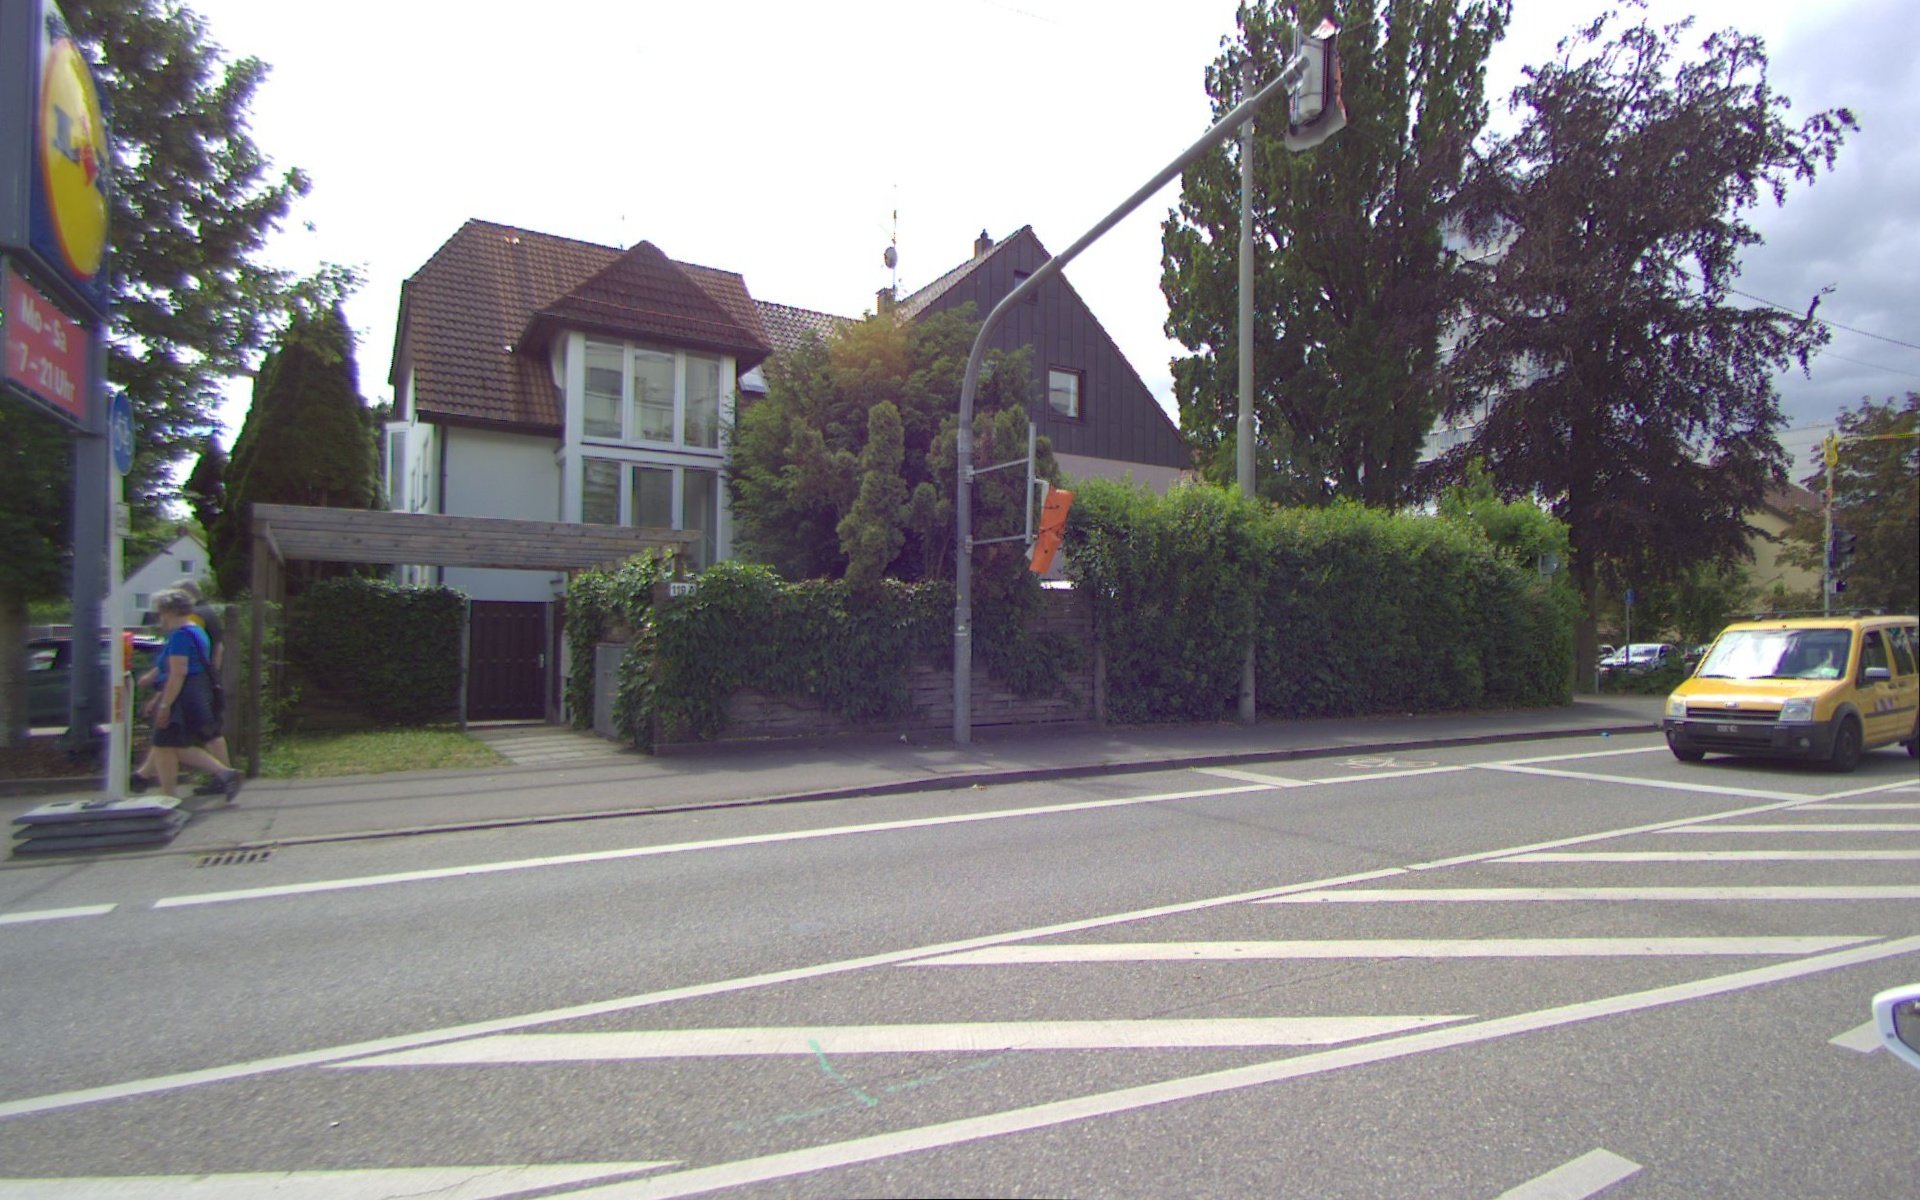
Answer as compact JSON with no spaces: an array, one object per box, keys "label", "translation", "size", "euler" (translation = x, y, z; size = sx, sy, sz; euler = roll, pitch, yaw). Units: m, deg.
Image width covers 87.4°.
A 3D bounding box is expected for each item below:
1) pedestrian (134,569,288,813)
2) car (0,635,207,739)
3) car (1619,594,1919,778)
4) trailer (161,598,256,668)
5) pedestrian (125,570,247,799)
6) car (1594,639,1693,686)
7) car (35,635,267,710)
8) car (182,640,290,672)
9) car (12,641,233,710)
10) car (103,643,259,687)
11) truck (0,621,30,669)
[{"label":"pedestrian","translation":[-6.134,0.721,8.282],"size":[0.882,1.879,0.678],"euler":[2,-2,-30]},{"label":"car","translation":[-14.044,1.277,15.213],"size":[3.953,1.472,1.984],"euler":[2,-3,-30]},{"label":"car","translation":[10.441,0.984,12.542],"size":[4.631,1.929,1.833],"euler":[1,-3,-30]},{"label":"trailer","translation":[-40.355,1.851,54.143],"size":[3.318,3.532,6.129],"euler":[1,-3,-30]},{"label":"pedestrian","translation":[-6.707,0.716,8.747],"size":[0.698,1.879,0.678],"euler":[2,-2,-30]},{"label":"car","translation":[23.892,2.147,35.079],"size":[3.398,1.535,1.652],"euler":[1,-2,-32]},{"label":"car","translation":[-18.491,1.625,23.229],"size":[3.959,1.572,1.982],"euler":[2,-3,-34]},{"label":"car","translation":[-33.688,2.595,46.892],"size":[3.959,1.416,1.982],"euler":[2,-3,-34]},{"label":"car","translation":[-20.581,1.807,24.937],"size":[3.959,1.572,1.982],"euler":[2,-3,-34]},{"label":"car","translation":[-26.136,2.153,33.890],"size":[3.959,1.416,1.982],"euler":[2,-3,-34]},{"label":"truck","translation":[-57.605,2.607,58.736],"size":[4.265,2.807,1.984],"euler":[2,-3,-31]}]
